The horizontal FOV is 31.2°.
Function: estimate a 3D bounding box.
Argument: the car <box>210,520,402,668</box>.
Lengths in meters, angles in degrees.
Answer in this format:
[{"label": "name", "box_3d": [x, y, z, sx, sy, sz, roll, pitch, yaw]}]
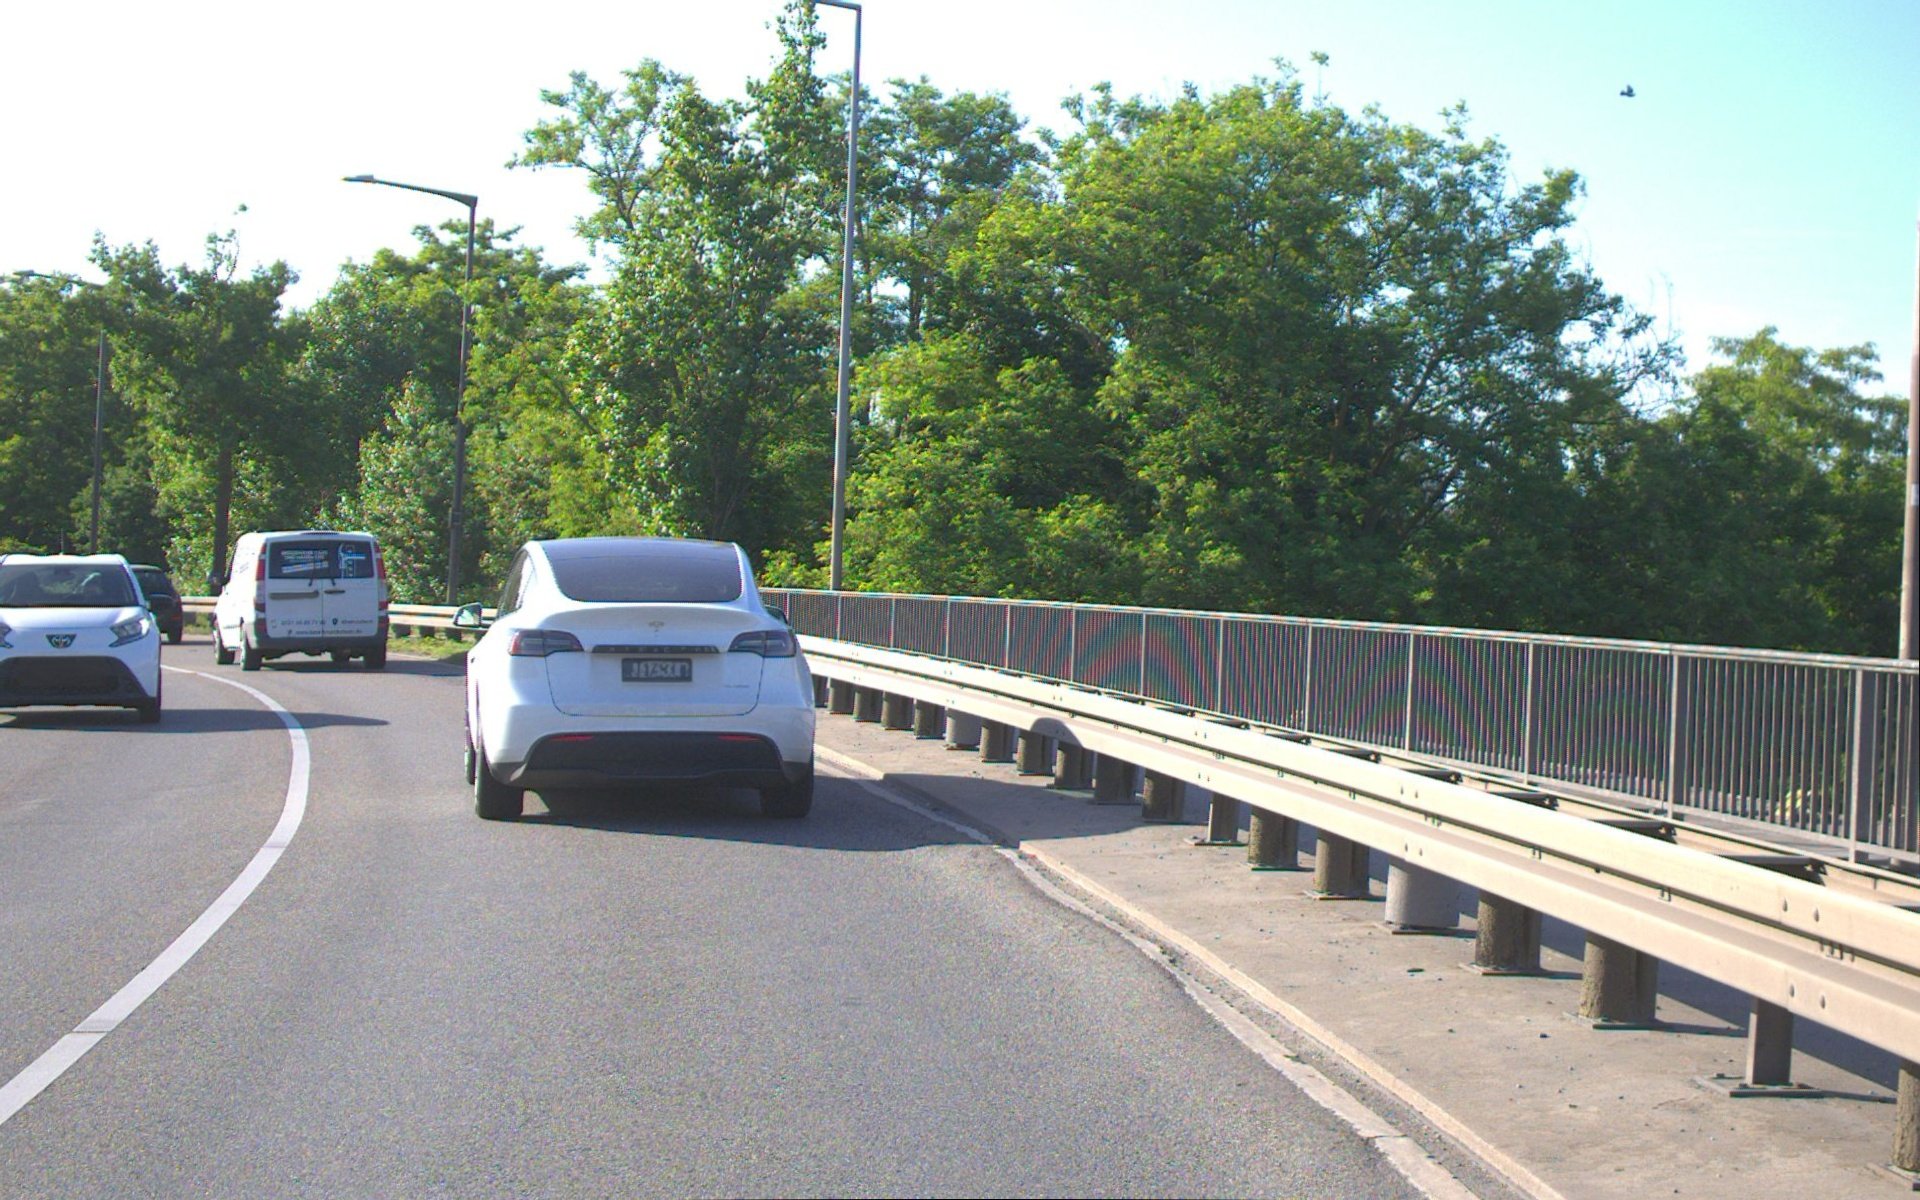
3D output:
[{"label": "car", "box_3d": [-9.048, -0.121, 47.303, 2.004, 1.934, 4.469, 0, 1, -19]}]

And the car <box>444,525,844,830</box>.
[{"label": "car", "box_3d": [-2.006, 0.404, 20.691, 1.985, 1.632, 4.064, 1, 0, -11]}]

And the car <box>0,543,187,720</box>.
[{"label": "car", "box_3d": [-8.273, 0.238, 31.480, 1.836, 1.514, 3.771, 0, 1, -20]}]

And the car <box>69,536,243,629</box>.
[{"label": "car", "box_3d": [-14.751, -0.319, 62.929, 1.968, 1.632, 4.000, -1, 0, -30]}]
